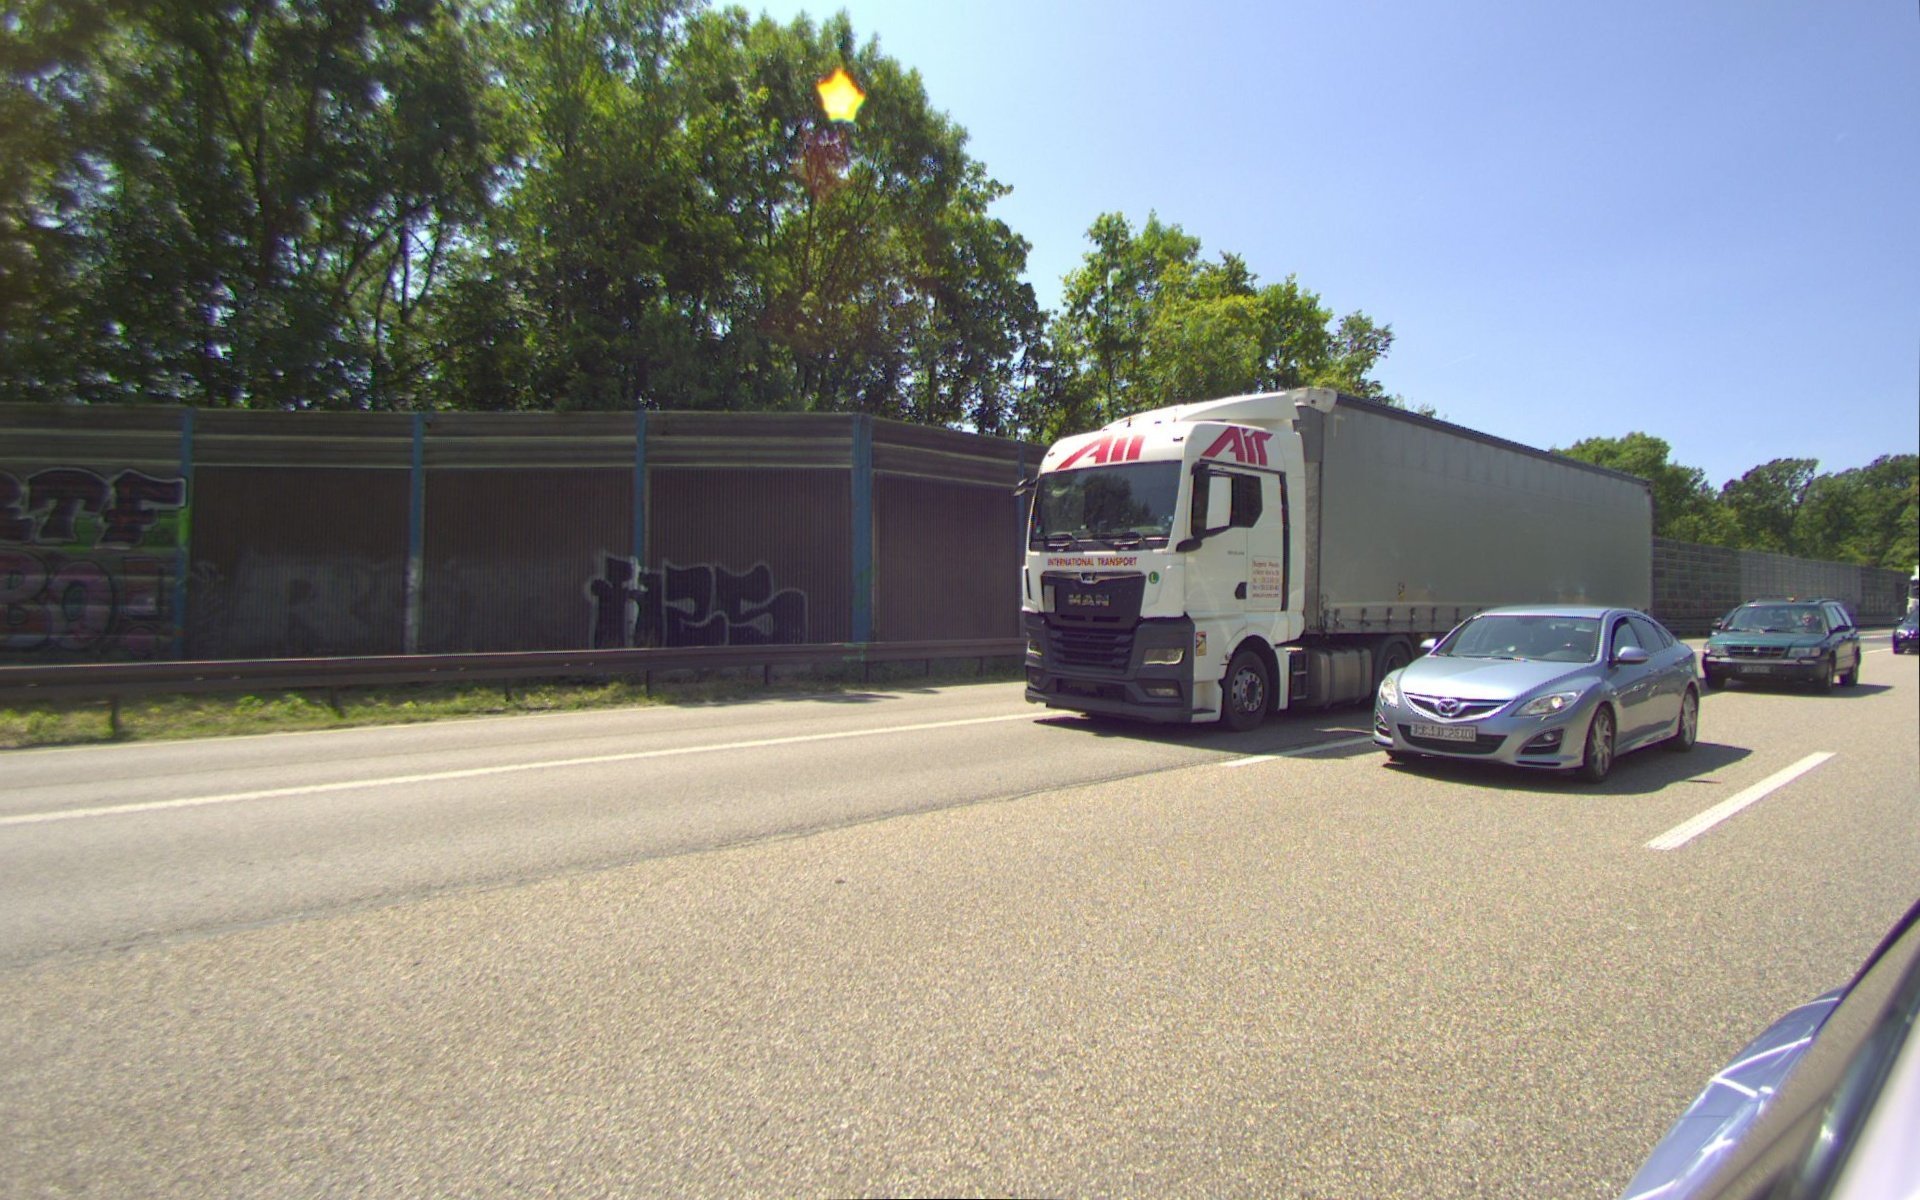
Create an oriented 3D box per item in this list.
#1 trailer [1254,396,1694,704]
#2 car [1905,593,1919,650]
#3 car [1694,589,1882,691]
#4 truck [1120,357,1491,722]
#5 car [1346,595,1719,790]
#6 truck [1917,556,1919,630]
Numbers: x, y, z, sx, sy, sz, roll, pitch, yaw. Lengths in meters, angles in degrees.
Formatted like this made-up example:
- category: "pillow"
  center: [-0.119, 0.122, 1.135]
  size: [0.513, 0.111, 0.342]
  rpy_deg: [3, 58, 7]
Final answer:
- category: "trailer"
  center: [10.395, -0.679, 19.017]
  size: [13.354, 4.142, 2.602]
  rpy_deg: [0, 0, -41]
- category: "car"
  center: [30.461, 0.648, 30.799]
  size: [3.928, 1.672, 1.997]
  rpy_deg: [1, -1, -40]
- category: "car"
  center: [14.603, 0.649, 17.781]
  size: [3.929, 1.579, 1.906]
  rpy_deg: [1, -1, -41]
- category: "truck"
  center: [5.018, -0.695, 14.285]
  size: [5.456, 4.142, 2.602]
  rpy_deg: [0, 0, -41]
- category: "car"
  center: [5.548, 0.714, 9.599]
  size: [4.104, 1.452, 1.858]
  rpy_deg: [1, -1, -41]
- category: "truck"
  center: [58.277, -0.382, 58.968]
  size: [5.321, 4.269, 2.812]
  rpy_deg: [1, -1, -38]
